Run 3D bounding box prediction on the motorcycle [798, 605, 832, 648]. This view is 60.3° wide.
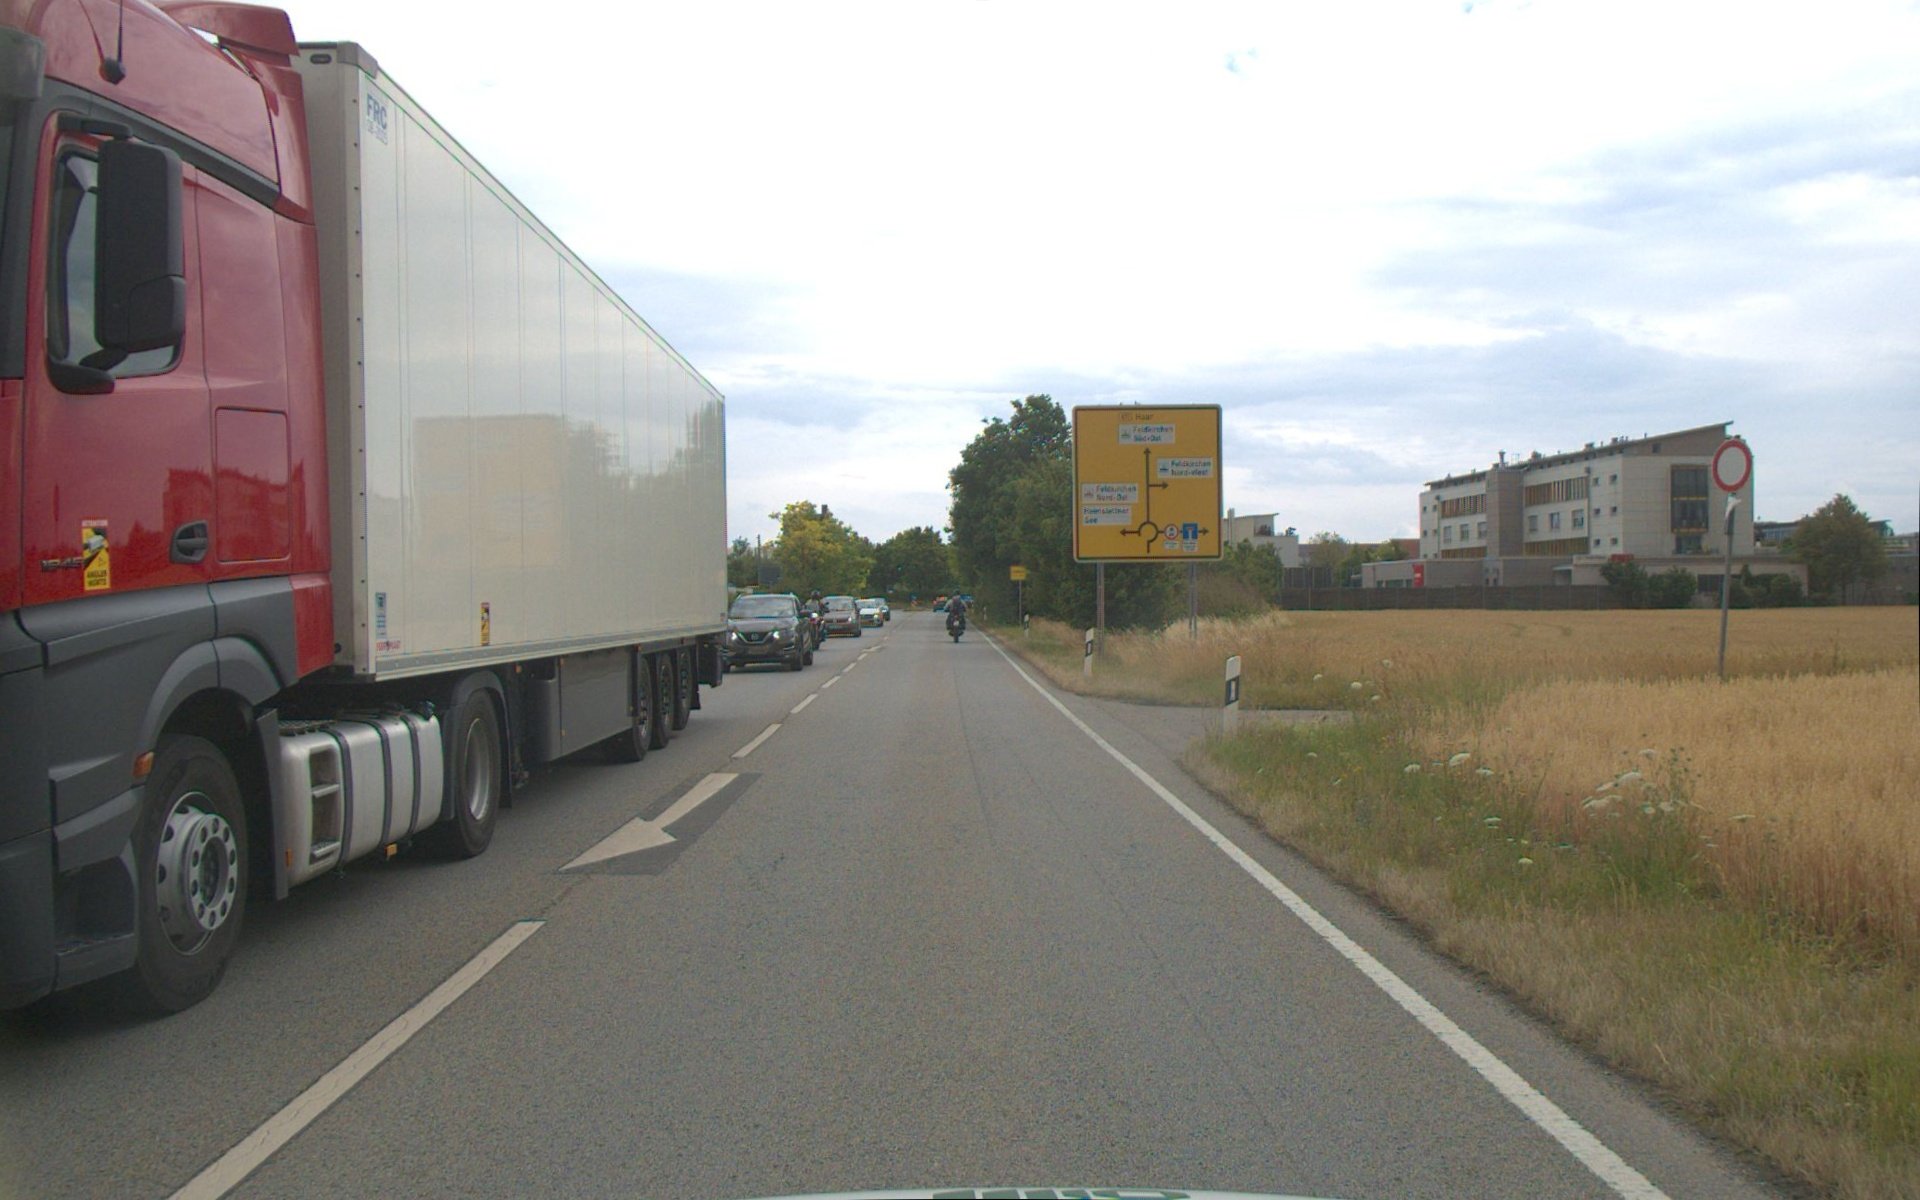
[{"bbox_3d":[-4.190,0.750,47.889,0.781,1.178,2.619,-1,0,-1],"label":"motorcycle"}]

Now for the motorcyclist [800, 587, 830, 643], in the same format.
[{"bbox_3d":[-4.198,0.421,47.867,0.781,1.601,1.078,-1,0,-1],"label":"motorcyclist"}]

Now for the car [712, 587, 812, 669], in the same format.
[{"bbox_3d":[-4.250,0.567,36.049,1.694,1.614,4.503,-2,0,-1],"label":"car"}]

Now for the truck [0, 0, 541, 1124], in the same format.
[{"bbox_3d":[-4.000,-0.583,7.699,2.597,4.192,6.022,-1,0,-1],"label":"truck"}]

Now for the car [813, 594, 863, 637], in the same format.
[{"bbox_3d":[-4.721,0.571,64.624,1.670,1.566,4.300,-2,0,-1],"label":"car"}]

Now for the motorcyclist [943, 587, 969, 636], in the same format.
[{"bbox_3d":[-0.131,0.379,56.574,0.844,1.652,1.190,-1,0,-1],"label":"motorcyclist"}]

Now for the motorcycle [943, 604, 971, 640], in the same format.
[{"bbox_3d":[-0.118,0.737,56.515,0.878,1.178,2.619,-1,0,-1],"label":"motorcycle"}]

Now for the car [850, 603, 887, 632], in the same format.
[{"bbox_3d":[-4.790,0.915,86.624,1.737,1.397,4.099,-2,0,-1],"label":"car"}]

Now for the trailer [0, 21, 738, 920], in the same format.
[{"bbox_3d":[-4.099,-0.607,14.631,2.581,4.192,13.764,-1,0,-1],"label":"trailer"}]
